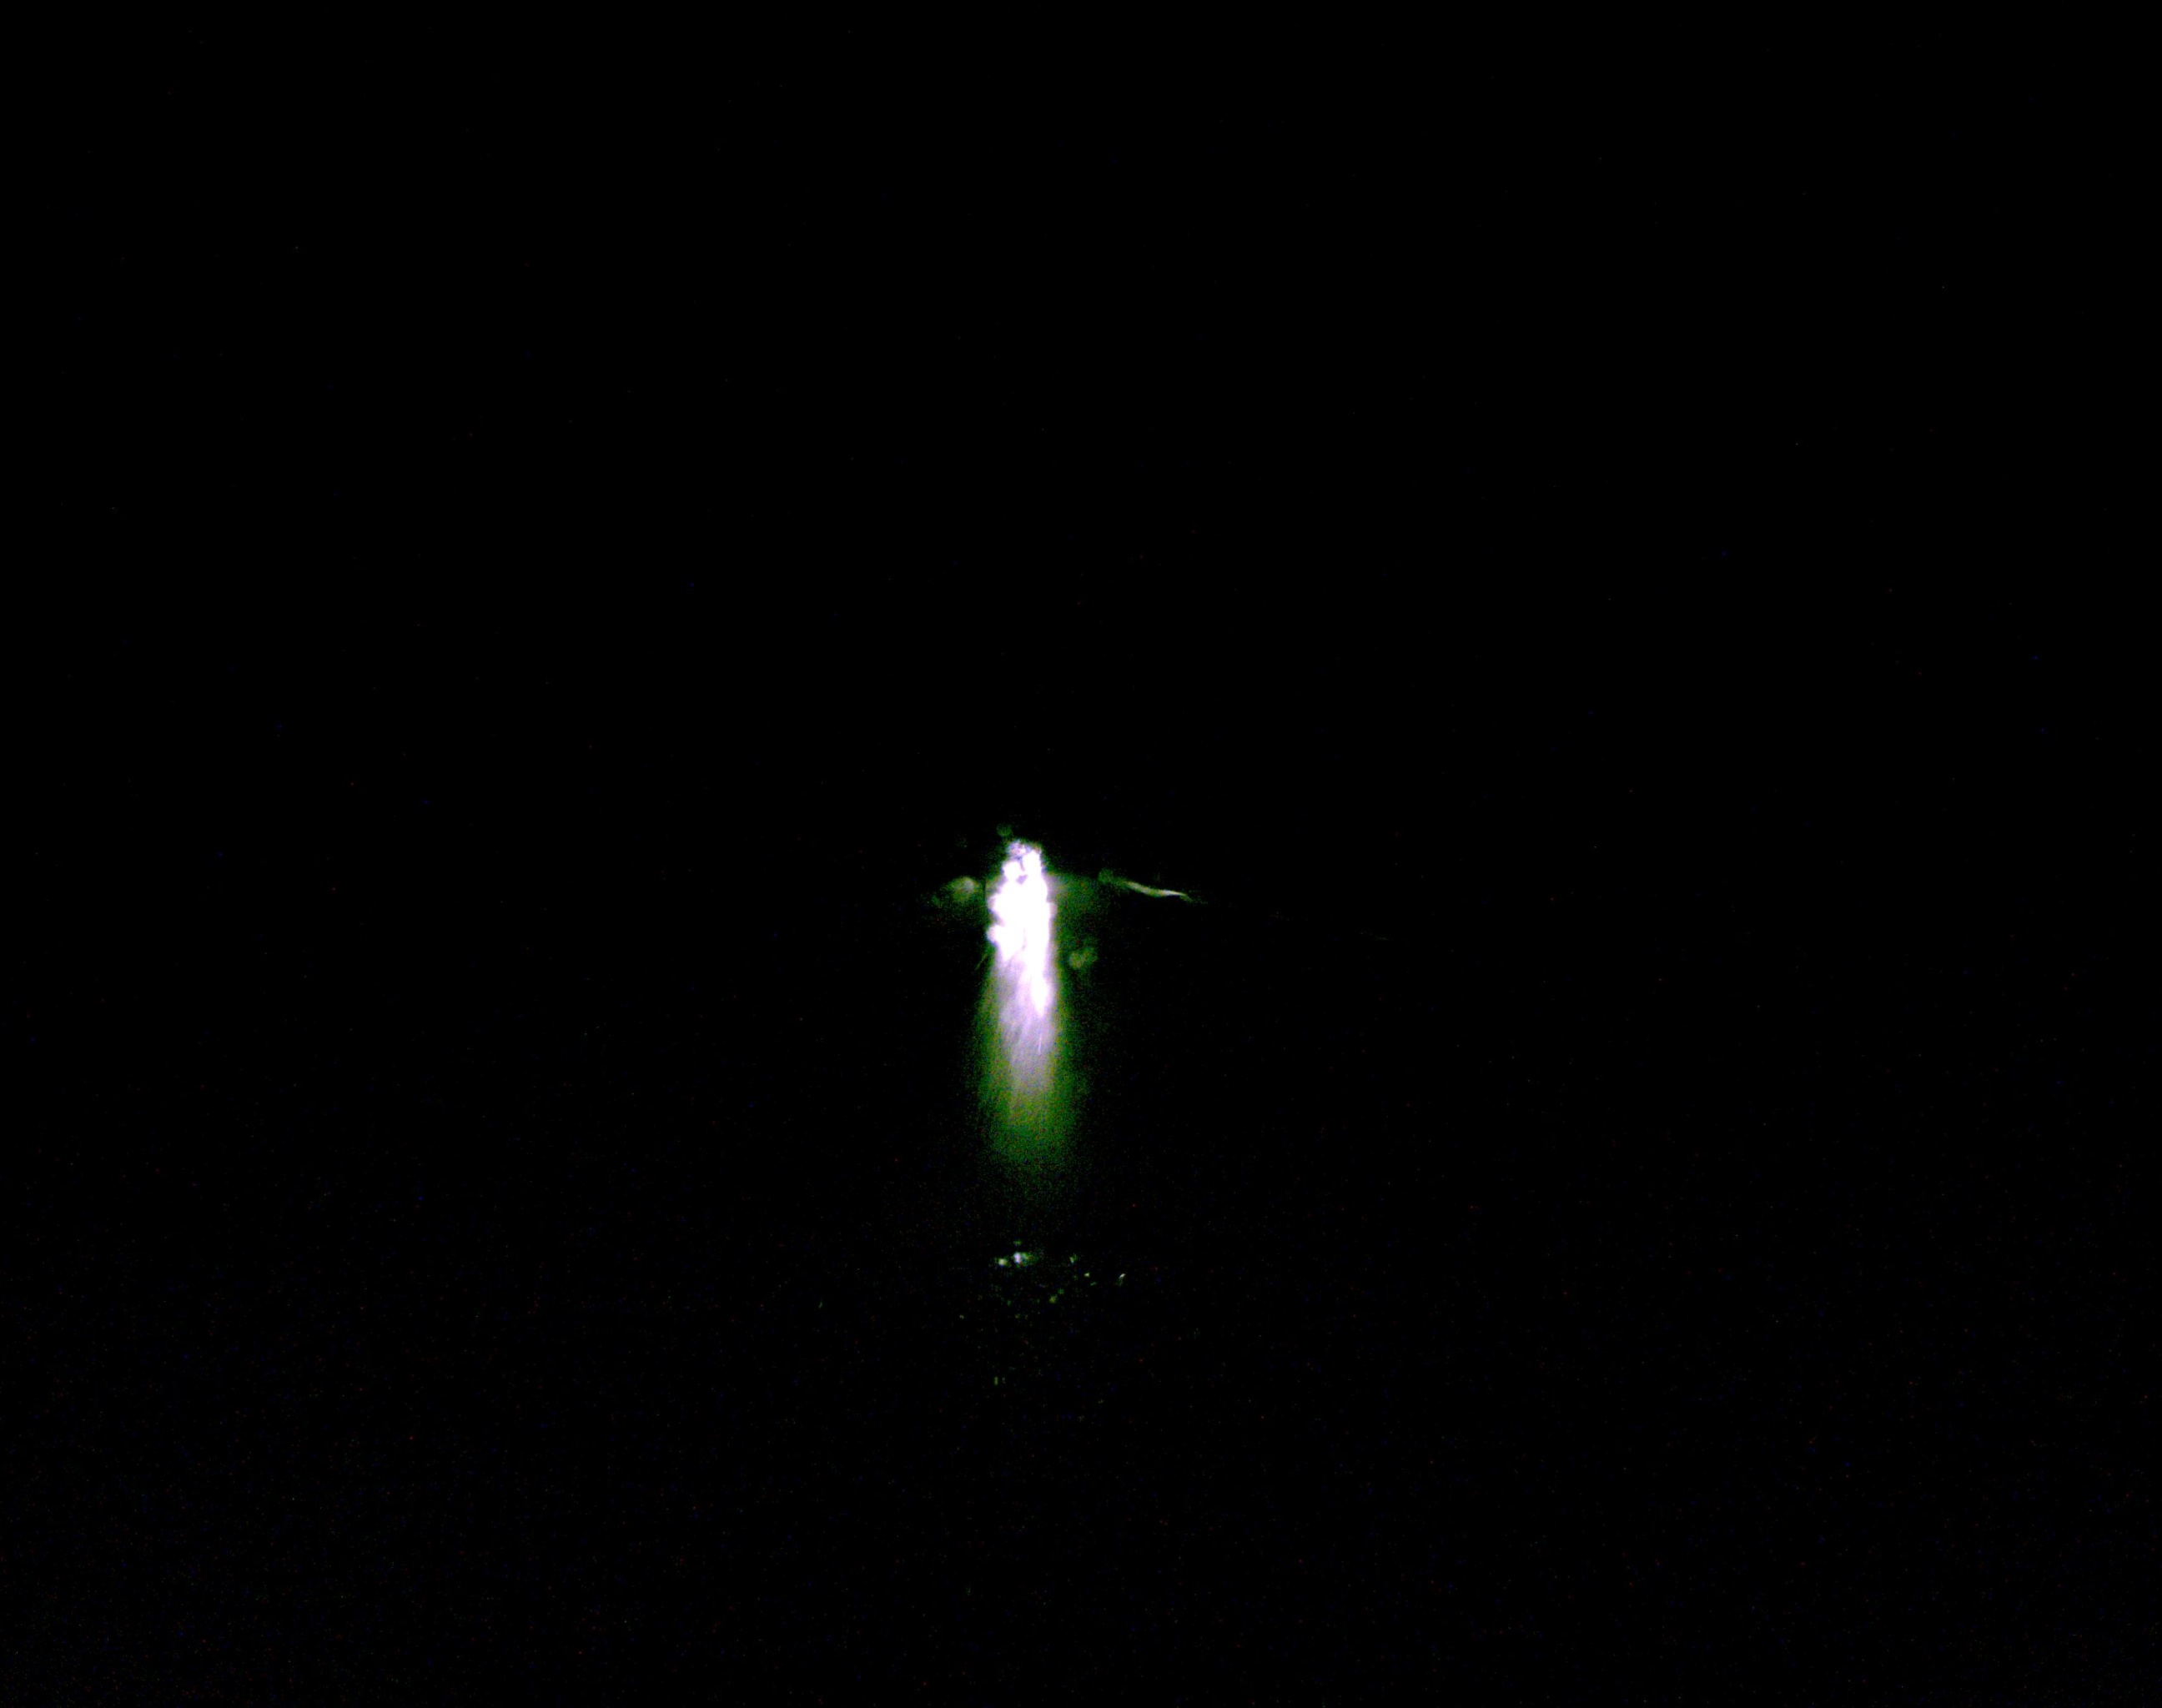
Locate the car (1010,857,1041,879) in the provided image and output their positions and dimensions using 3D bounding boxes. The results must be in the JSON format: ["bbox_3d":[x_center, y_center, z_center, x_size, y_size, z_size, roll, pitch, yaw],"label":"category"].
[{"bbox_3d":[-3.808,0.930,51.840,1.999,1.412,3.997,-1,1,-5],"label":"car"}]
